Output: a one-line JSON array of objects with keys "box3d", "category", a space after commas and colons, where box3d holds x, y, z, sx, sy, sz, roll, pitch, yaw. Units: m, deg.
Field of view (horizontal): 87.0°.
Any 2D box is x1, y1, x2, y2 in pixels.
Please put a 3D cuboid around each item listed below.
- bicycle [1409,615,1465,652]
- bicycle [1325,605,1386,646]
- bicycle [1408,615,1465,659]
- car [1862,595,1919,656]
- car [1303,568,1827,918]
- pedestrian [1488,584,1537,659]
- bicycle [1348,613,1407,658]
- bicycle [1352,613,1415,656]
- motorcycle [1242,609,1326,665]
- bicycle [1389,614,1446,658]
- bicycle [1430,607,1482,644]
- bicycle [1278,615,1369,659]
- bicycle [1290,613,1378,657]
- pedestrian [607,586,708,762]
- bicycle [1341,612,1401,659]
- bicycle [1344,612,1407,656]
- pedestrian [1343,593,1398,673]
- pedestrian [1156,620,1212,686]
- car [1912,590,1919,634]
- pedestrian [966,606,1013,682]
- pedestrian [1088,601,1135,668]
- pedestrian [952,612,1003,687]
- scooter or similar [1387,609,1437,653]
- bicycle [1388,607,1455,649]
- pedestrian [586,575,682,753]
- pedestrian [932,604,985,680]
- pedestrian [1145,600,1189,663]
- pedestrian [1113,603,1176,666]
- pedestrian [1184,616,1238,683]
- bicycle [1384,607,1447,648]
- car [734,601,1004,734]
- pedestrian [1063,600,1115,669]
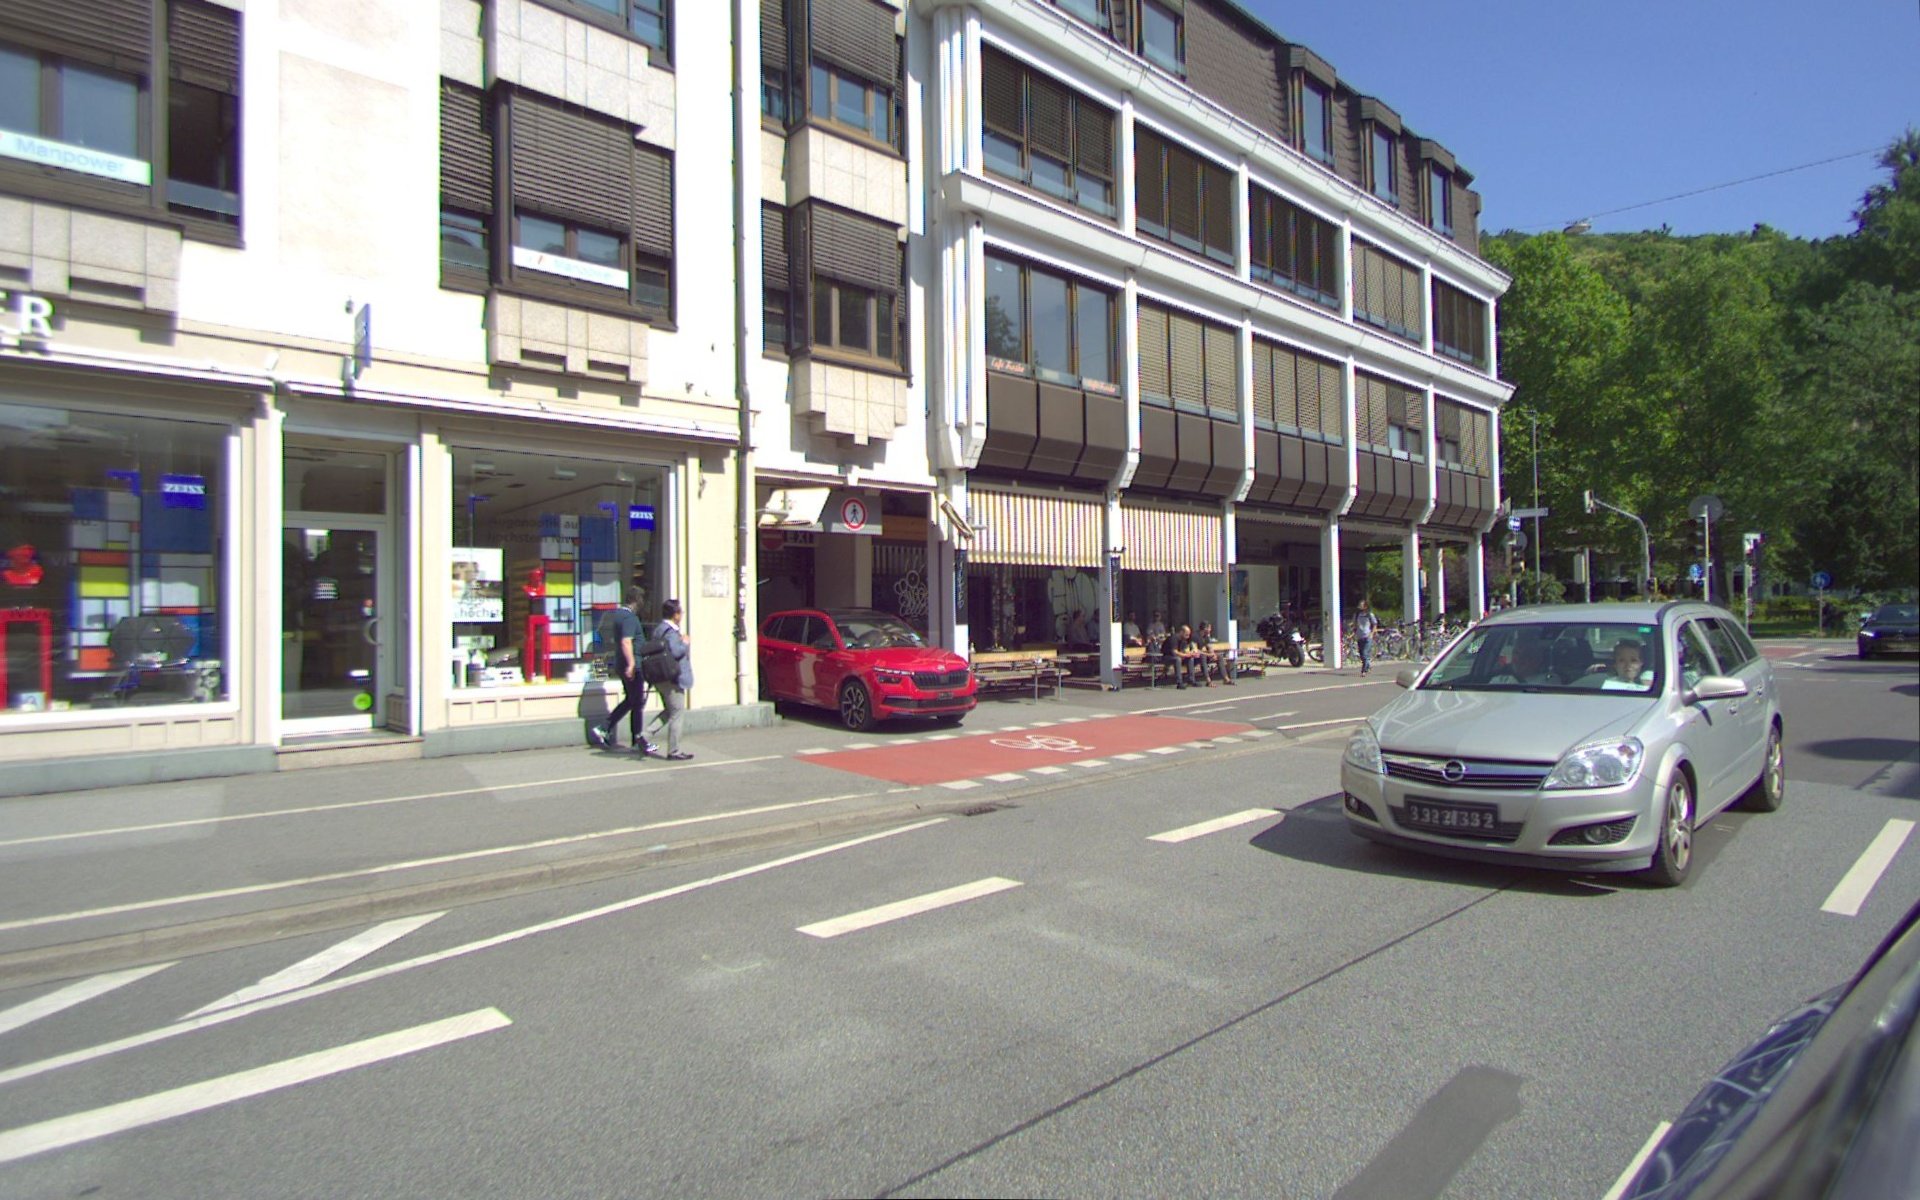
[{"box3d": [14.047, 0.972, 29.814, 1.445, 1.079, 0.376, 0, 0, 6], "category": "bicycle"}, {"box3d": [13.893, 0.895, 35.578, 1.935, 1.440, 0.529, 0, -1, 11], "category": "bicycle"}, {"box3d": [12.943, 0.992, 27.469, 2.200, 1.135, 0.277, 0, -2, -34], "category": "bicycle"}, {"box3d": [24.711, 0.617, 26.045, 4.142, 1.447, 1.845, -1, -1, -43], "category": "car"}, {"box3d": [4.136, 0.652, 6.574, 4.331, 1.542, 1.709, 0, -2, -42], "category": "car"}, {"box3d": [14.106, 0.540, 25.841, 0.683, 1.859, 0.836, -2, 0, -33], "category": "pedestrian"}, {"box3d": [11.136, 0.930, 27.035, 0.272, 1.134, 1.576, 0, 0, -34], "category": "bicycle"}, {"box3d": [11.637, 0.929, 27.844, 0.272, 1.134, 1.722, 0, 0, -34], "category": "bicycle"}, {"box3d": [8.046, 0.890, 25.285, 0.929, 1.307, 2.247, -2, 0, -13], "category": "motorcycle"}, {"box3d": [12.524, 0.969, 27.687, 2.200, 1.135, 0.277, 0, -2, -34], "category": "bicycle"}, {"box3d": [14.916, 0.767, 30.449, 1.442, 1.079, 0.309, 0, 0, -6], "category": "bicycle"}, {"box3d": [9.486, 0.963, 26.465, 2.229, 1.111, 0.274, -2, -2, 36], "category": "bicycle"}, {"box3d": [9.916, 0.939, 26.897, 2.234, 1.135, 0.273, -2, -2, 42], "category": "bicycle"}, {"box3d": [-3.098, 0.719, 10.359, 0.819, 1.707, 0.697, 0, -1, -33], "category": "pedestrian"}, {"box3d": [10.862, 0.935, 26.798, 0.272, 1.222, 1.550, 0, -2, -34], "category": "bicycle"}, {"box3d": [11.320, 0.918, 27.618, 0.272, 1.134, 1.722, 0, 0, -34], "category": "bicycle"}, {"box3d": [9.013, 0.708, 22.244, 0.683, 1.684, 0.836, -2, 0, -33], "category": "pedestrian"}, {"box3d": [4.227, 0.987, 19.106, 0.683, 1.187, 0.714, -2, 0, -33], "category": "pedestrian"}, {"box3d": [33.799, 0.357, 34.229, 4.268, 1.447, 1.939, -1, -1, -42], "category": "car"}, {"box3d": [0.552, 0.808, 18.821, 0.677, 1.385, 0.536, 0, -2, -41], "category": "pedestrian"}, {"box3d": [3.326, 0.745, 22.186, 0.685, 1.414, 0.712, -2, 0, -42], "category": "pedestrian"}, {"box3d": [0.331, 0.940, 19.401, 0.528, 1.385, 0.836, 0, -2, -42], "category": "pedestrian"}, {"box3d": [13.104, 0.899, 29.352, 0.471, 1.248, 1.250, 0, -2, -35], "category": "scooter or similar"}, {"box3d": [15.159, 0.911, 33.280, 1.935, 1.334, 0.529, 0, -1, 11], "category": "bicycle"}, {"box3d": [-3.614, 0.674, 11.208, 0.819, 1.874, 0.697, -2, 0, -33], "category": "pedestrian"}, {"box3d": [-0.036, 0.777, 18.993, 0.528, 1.385, 0.878, 0, -2, -42], "category": "pedestrian"}, {"box3d": [4.816, 0.733, 23.576, 0.685, 1.414, 0.712, -2, 0, -42], "category": "pedestrian"}, {"box3d": [4.173, 0.768, 22.929, 1.087, 1.368, 0.897, -2, 0, -42], "category": "pedestrian"}, {"box3d": [4.874, 0.941, 19.645, 0.683, 1.232, 0.714, -2, 0, -33], "category": "pedestrian"}, {"box3d": [15.190, 0.905, 33.808, 1.829, 1.334, 0.529, 0, -1, 11], "category": "bicycle"}, {"box3d": [-1.416, 0.833, 14.276, 1.809, 1.513, 4.052, -3, 1, -39], "category": "car"}, {"box3d": [2.753, 0.730, 21.583, 0.685, 1.414, 0.813, -1, -1, -43], "category": "pedestrian"}]
